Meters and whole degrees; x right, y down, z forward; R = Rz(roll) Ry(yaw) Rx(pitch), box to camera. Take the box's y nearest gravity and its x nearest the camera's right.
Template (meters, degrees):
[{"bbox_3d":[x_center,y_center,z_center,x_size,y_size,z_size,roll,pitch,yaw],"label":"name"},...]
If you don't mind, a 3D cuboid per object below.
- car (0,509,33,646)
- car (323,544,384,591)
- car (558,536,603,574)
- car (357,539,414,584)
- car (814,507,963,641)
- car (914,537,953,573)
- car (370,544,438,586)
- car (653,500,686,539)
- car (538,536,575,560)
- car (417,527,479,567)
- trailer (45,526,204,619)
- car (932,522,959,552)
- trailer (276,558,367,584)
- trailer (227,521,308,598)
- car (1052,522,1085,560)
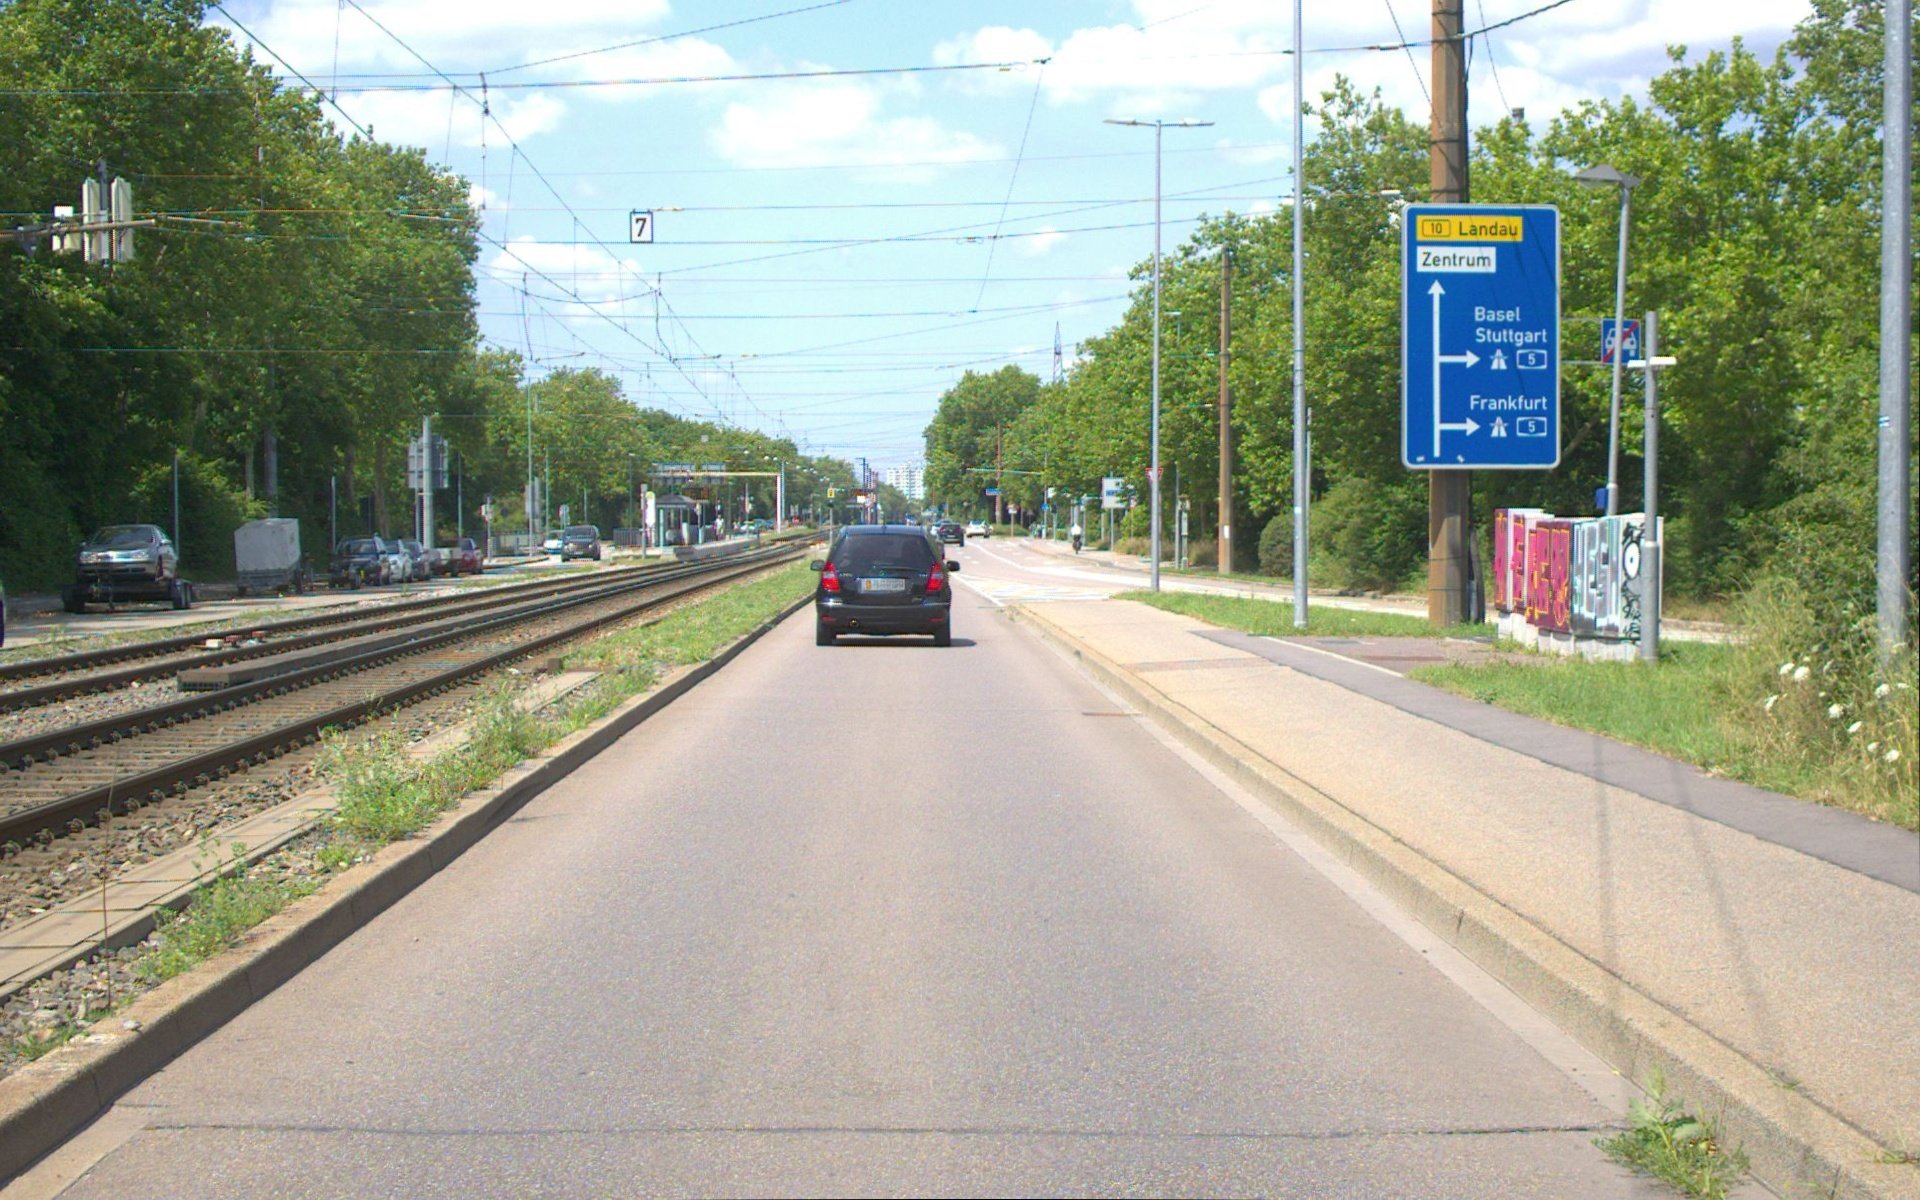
[{"bbox_3d":[-12.932,-0.270,42.040,1.875,1.714,5.331,0,1,-1],"label":"car"},{"bbox_3d":[-19.220,-1.054,109.048,1.433,1.446,3.922,1,1,-3],"label":"car"},{"bbox_3d":[-20.303,-2.417,184.063,1.993,2.007,4.000,-1,1,-1],"label":"car"},{"bbox_3d":[-19.252,-1.296,115.242,1.433,1.446,3.741,1,1,-3],"label":"car"},{"bbox_3d":[-0.912,-0.391,45.723,1.853,1.564,4.389,1,3,0],"label":"car"},{"bbox_3d":[-1.389,-2.364,179.683,1.885,1.634,4.000,4,2,0],"label":"car"},{"bbox_3d":[-19.507,-1.238,120.784,1.870,1.396,4.419,1,1,-3],"label":"car"},{"bbox_3d":[-16.033,-4.452,189.573,1.585,2.006,4.111,1,2,-2],"label":"car"},{"bbox_3d":[-26.347,-3.414,224.629,1.993,1.568,4.000,1,1,0],"label":"car"},{"bbox_3d":[-20.705,-2.149,139.052,1.993,1.568,4.000,1,1,-1],"label":"car"},{"bbox_3d":[-17.795,-0.616,73.510,2.461,1.882,5.963,1,1,-5],"label":"trailer"},{"bbox_3d":[-1.012,-4.463,242.134,1.786,2.006,4.001,1,2,-1],"label":"car"},{"bbox_3d":[-18.683,-0.837,100.752,1.993,0.740,4.000,0,0,-1],"label":"trailer"},{"bbox_3d":[-18.892,-1.134,93.936,1.609,2.007,3.917,1,1,-4],"label":"trailer"},{"bbox_3d":[6.115,-3.344,194.642,1.612,2.006,3.440,1,2,-1],"label":"car"}]
